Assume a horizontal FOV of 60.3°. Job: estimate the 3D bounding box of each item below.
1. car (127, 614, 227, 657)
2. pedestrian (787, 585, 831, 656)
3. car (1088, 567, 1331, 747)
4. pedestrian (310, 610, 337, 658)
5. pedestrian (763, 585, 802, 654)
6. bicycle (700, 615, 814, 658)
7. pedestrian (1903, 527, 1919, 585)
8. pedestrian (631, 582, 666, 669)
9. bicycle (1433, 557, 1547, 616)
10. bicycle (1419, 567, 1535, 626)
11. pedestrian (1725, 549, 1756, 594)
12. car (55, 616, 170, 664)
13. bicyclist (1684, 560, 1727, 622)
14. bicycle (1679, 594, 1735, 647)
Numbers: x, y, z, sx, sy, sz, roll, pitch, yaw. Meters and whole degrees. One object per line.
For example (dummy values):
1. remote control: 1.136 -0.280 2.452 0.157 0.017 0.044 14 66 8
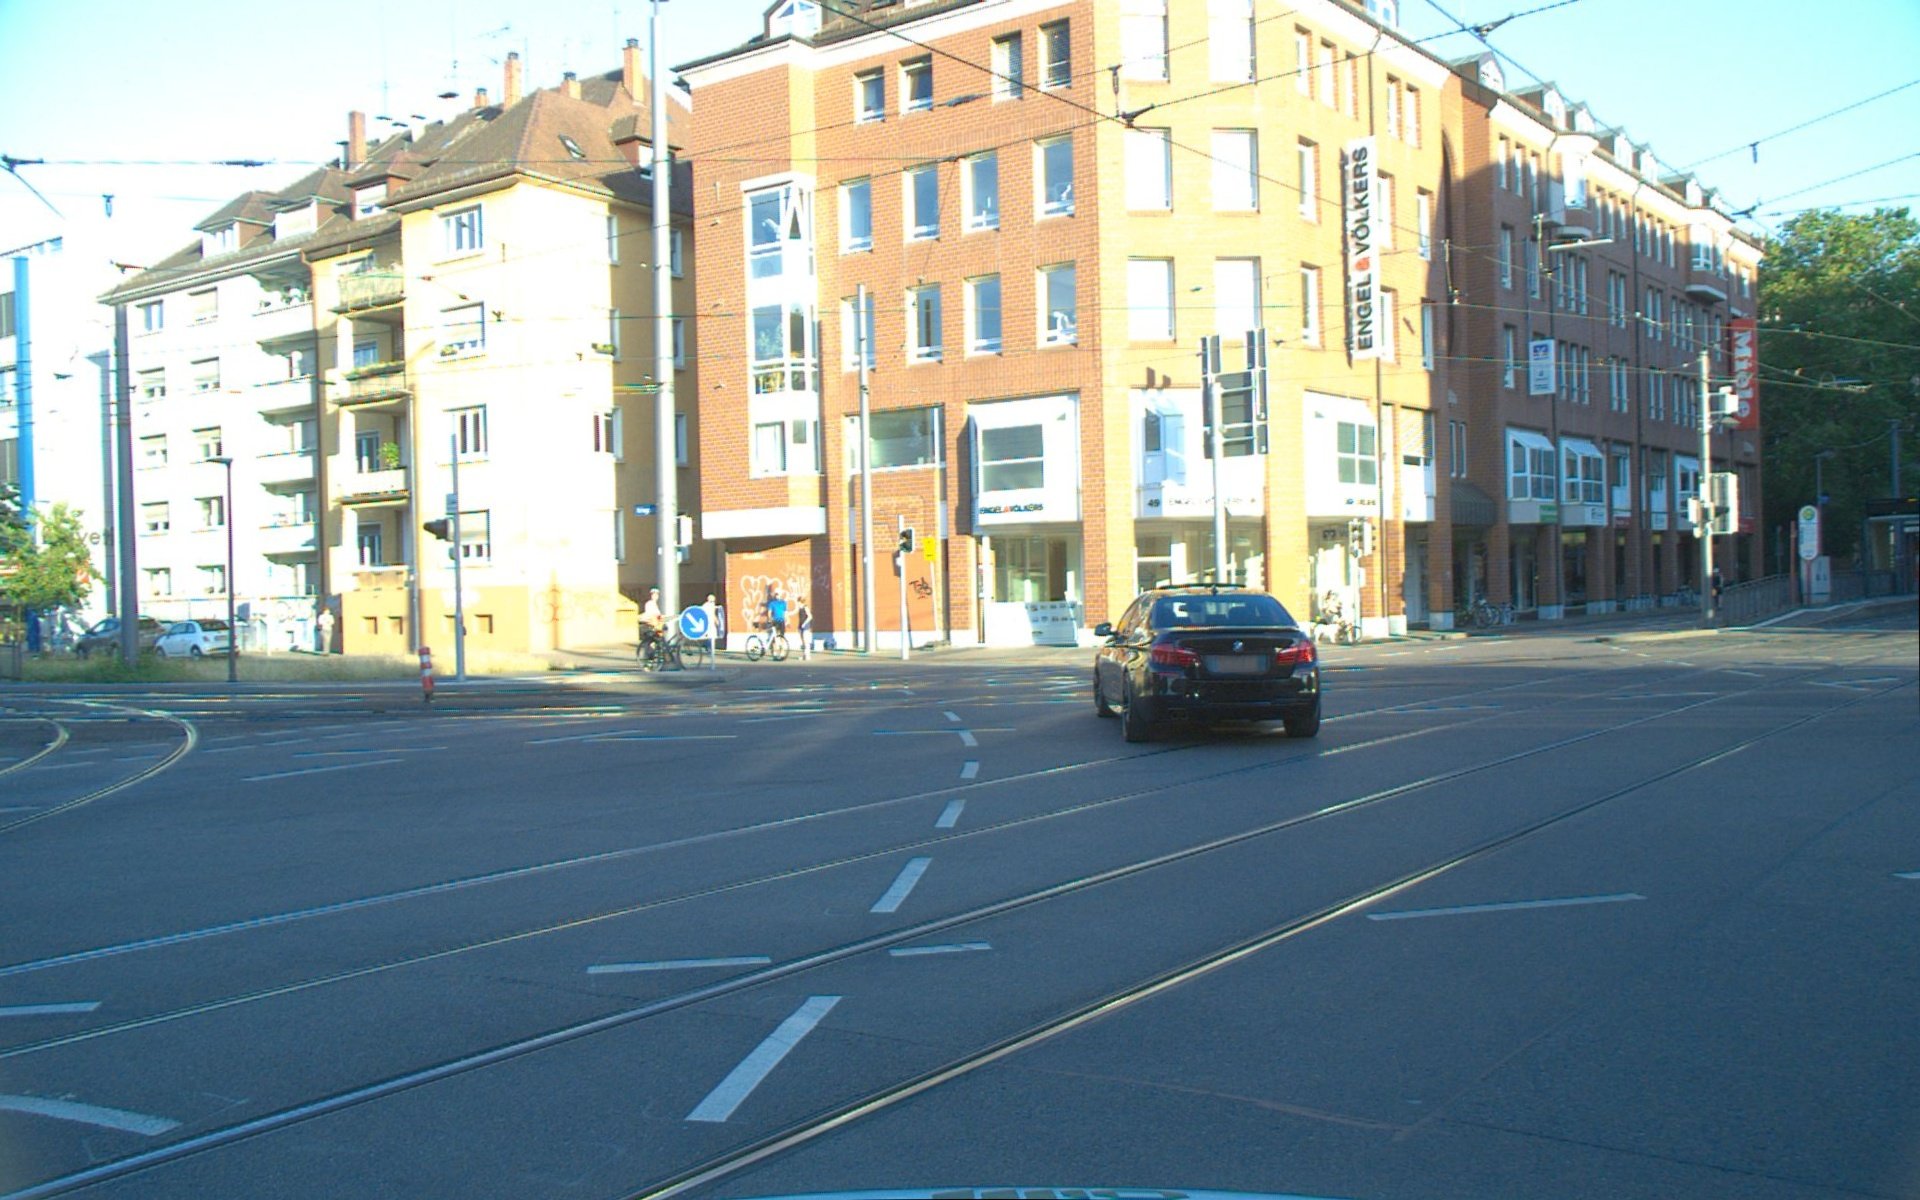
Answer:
1. car: -28.575 1.304 60.326 3.469 1.445 1.734 -2 0 33
2. pedestrian: -3.996 0.535 43.764 0.853 1.824 0.709 -2 0 27
3. car: 2.411 0.486 17.014 1.803 1.521 4.292 -3 1 0
4. pedestrian: -22.315 1.190 57.980 0.702 1.626 0.726 -2 0 -33
5. pedestrian: -4.717 0.511 44.061 0.625 1.809 0.814 -2 0 29
6. bicycle: -5.338 0.960 43.403 2.996 1.035 0.930 -2 0 29
7. pedestrian: 34.400 -1.594 59.440 0.794 2.049 0.676 -2 1 35
8. pedestrian: -6.302 0.519 33.504 0.505 1.738 0.418 -2 0 36
9. bicycle: 16.734 -0.413 52.287 3.243 1.756 1.065 -1 1 38
10. bicycle: 16.028 -0.104 51.370 3.245 1.756 1.064 -1 1 39
11. pedestrian: 35.816 -1.306 75.894 1.066 2.049 1.081 -1 1 34
12. car: -32.611 1.530 63.645 4.258 1.734 2.113 -1 0 33
13. bicyclist: 31.069 -0.379 68.925 1.269 2.511 1.662 -2 1 37
14. bicycle: 31.273 0.848 69.178 1.274 2.048 3.933 -2 1 37
